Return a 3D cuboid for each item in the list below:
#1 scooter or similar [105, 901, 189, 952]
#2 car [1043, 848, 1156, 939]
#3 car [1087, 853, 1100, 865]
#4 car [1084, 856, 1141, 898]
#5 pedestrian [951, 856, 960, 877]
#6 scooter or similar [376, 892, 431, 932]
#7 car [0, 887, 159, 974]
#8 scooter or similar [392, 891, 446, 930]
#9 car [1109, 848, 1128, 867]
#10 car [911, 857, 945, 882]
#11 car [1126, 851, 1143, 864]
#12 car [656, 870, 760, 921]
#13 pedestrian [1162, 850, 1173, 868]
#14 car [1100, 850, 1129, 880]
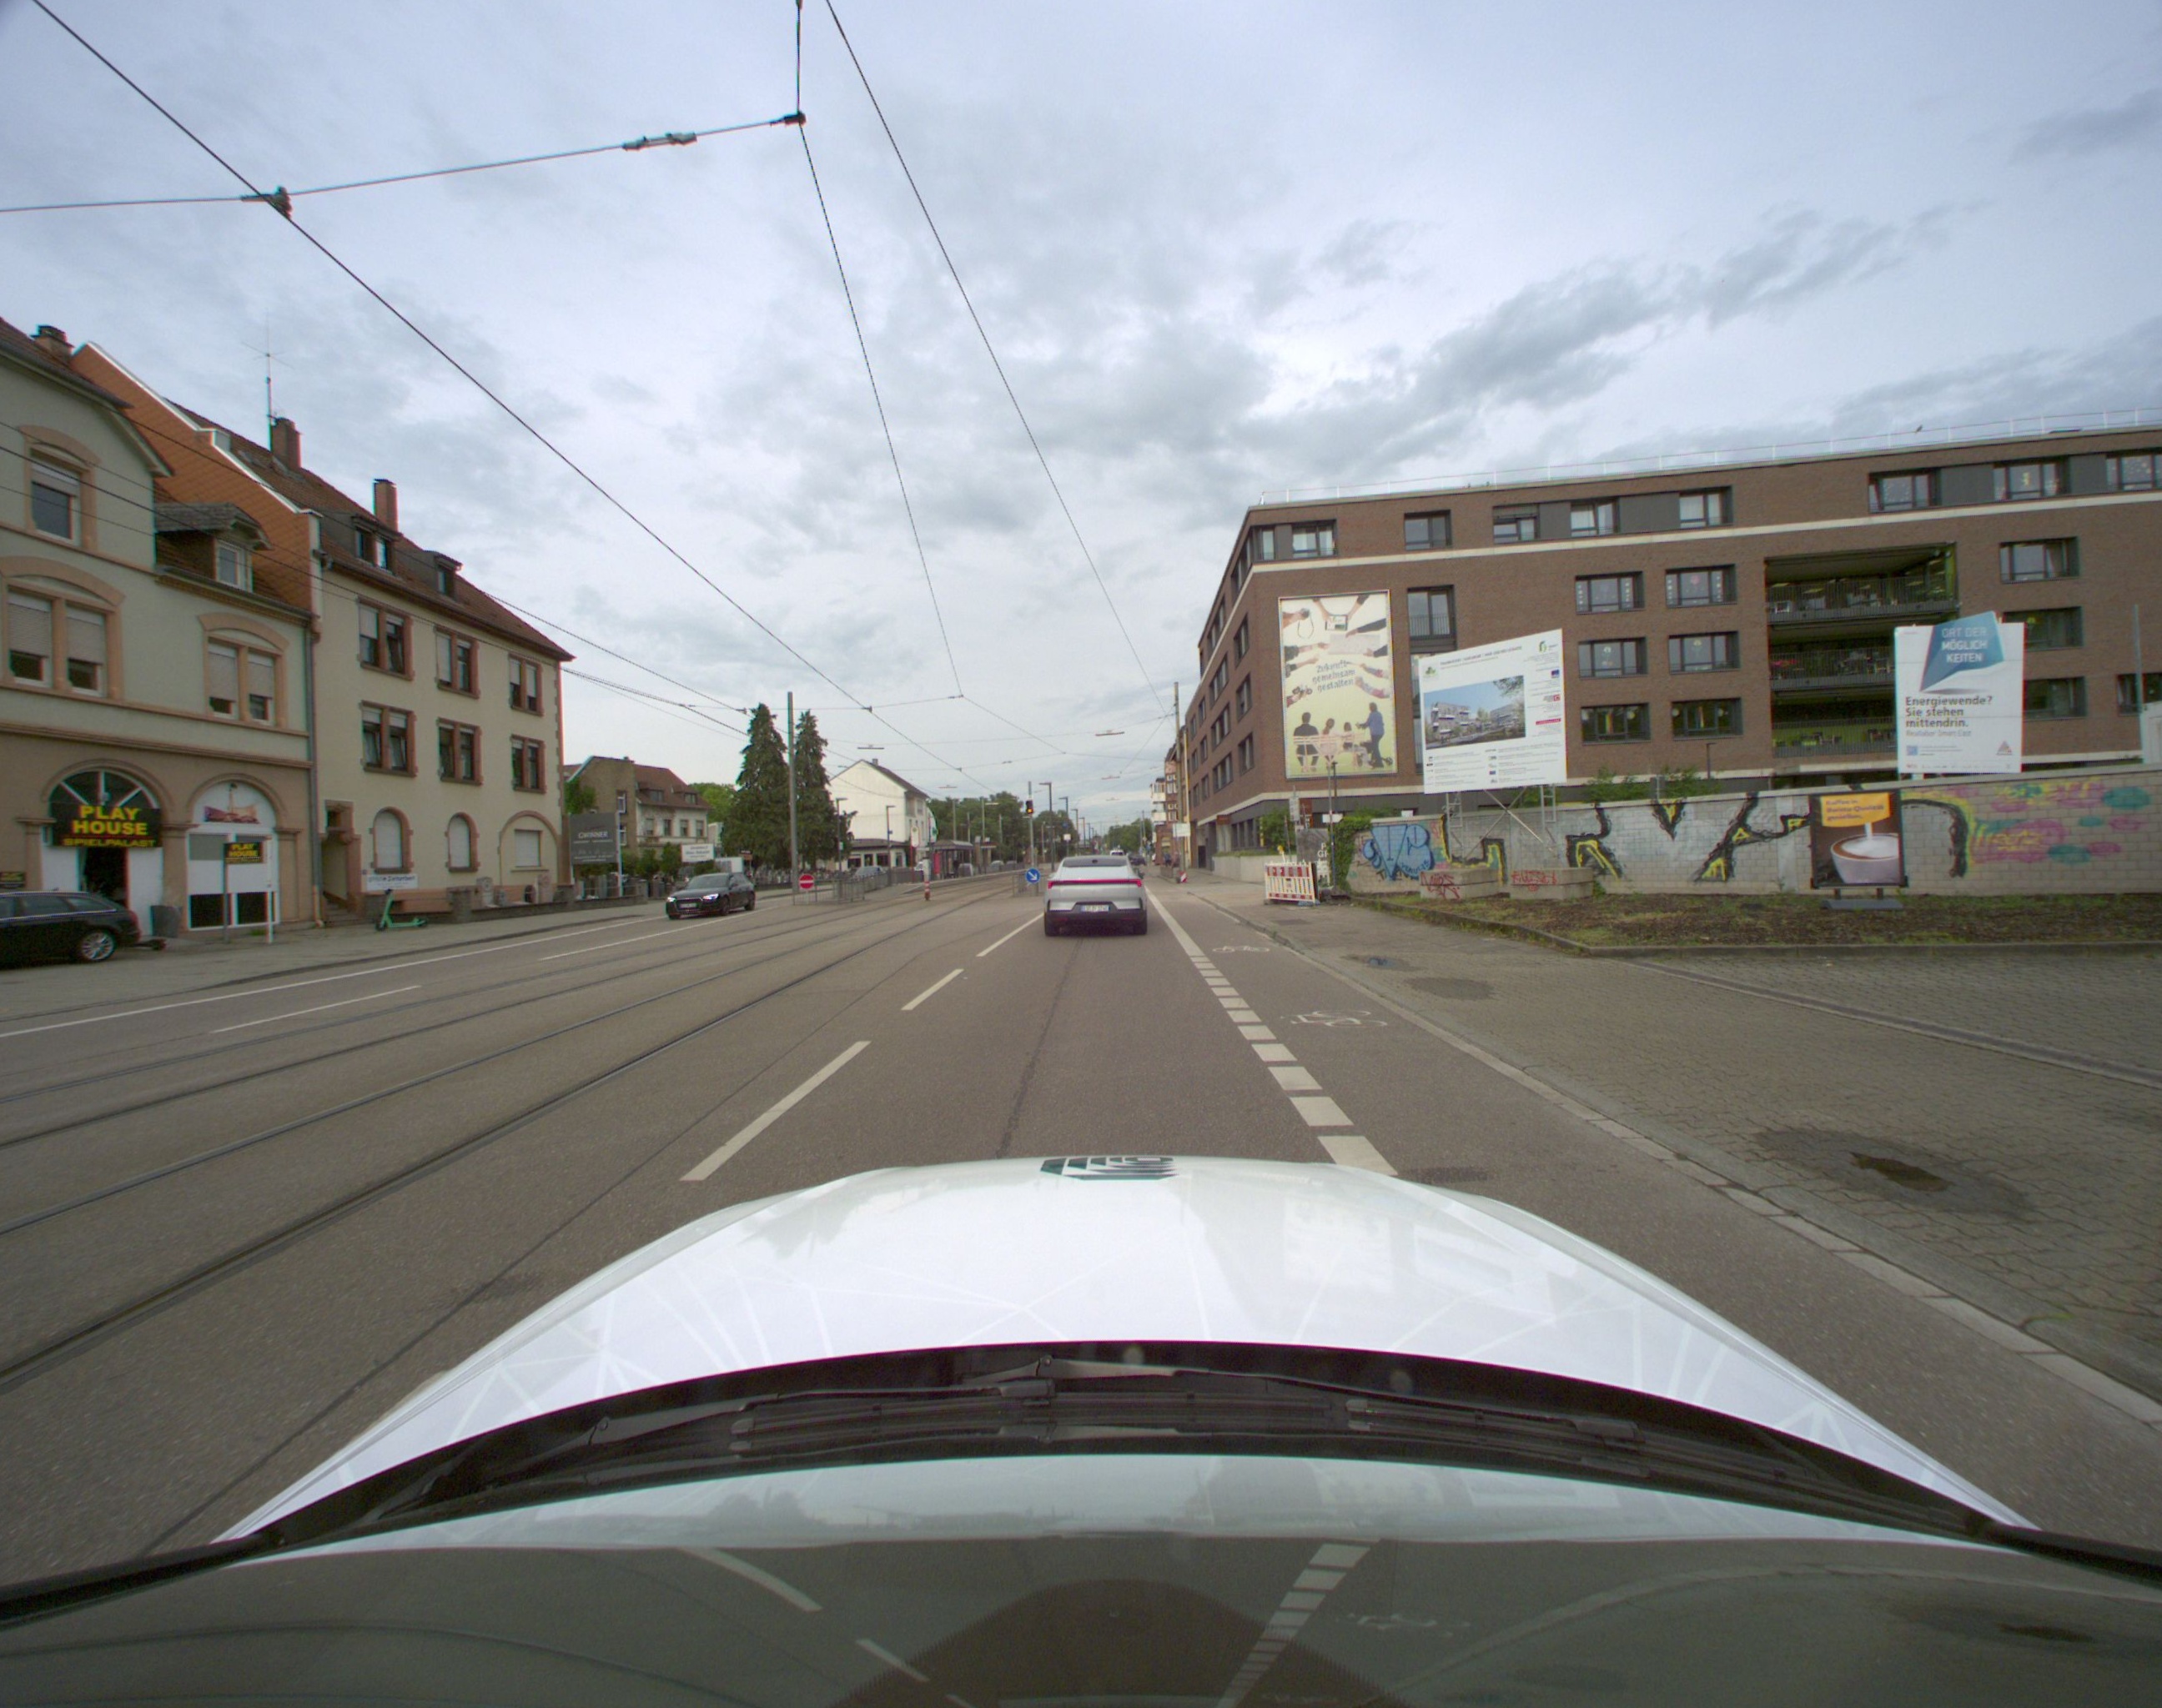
[{"bbox_3d":[-21.120,1.631,18.434,1.173,1.102,0.527,0,-1,-6],"label":"scooter or similar"},{"bbox_3d":[0.272,0.732,16.584,1.994,1.581,3.997,-1,-1,-2],"label":"car"},{"bbox_3d":[2.110,0.827,142.755,1.988,2.013,3.997,-3,0,-2],"label":"car"},{"bbox_3d":[1.190,0.820,31.461,1.986,1.420,4.001,-3,0,1],"label":"car"},{"bbox_3d":[-9.823,0.974,63.710,0.617,1.664,0.693,-1,-1,-16],"label":"pedestrian"},{"bbox_3d":[-19.902,1.697,23.943,1.182,1.102,0.522,-1,-1,-32],"label":"scooter or similar"},{"bbox_3d":[-20.486,1.429,14.782,1.988,1.493,4.898,0,-1,-2],"label":"car"},{"bbox_3d":[-20.106,1.712,24.755,1.182,1.102,0.522,-1,-1,-32],"label":"scooter or similar"},{"bbox_3d":[4.874,0.462,106.517,2.219,2.402,5.121,-2,-1,-1],"label":"car"},{"bbox_3d":[-13.191,1.341,70.258,1.878,1.988,4.526,-3,-1,1],"label":"car"},{"bbox_3d":[8.614,0.552,130.656,1.980,2.014,4.014,-2,-1,12],"label":"car"},{"bbox_3d":[-12.795,1.358,28.272,1.903,1.473,4.806,-4,0,-8],"label":"car"},{"bbox_3d":[9.124,0.505,85.780,0.955,1.850,0.978,-5,0,8],"label":"pedestrian"},{"bbox_3d":[2.055,0.659,49.589,1.674,1.687,3.826,-2,-1,3],"label":"car"}]
